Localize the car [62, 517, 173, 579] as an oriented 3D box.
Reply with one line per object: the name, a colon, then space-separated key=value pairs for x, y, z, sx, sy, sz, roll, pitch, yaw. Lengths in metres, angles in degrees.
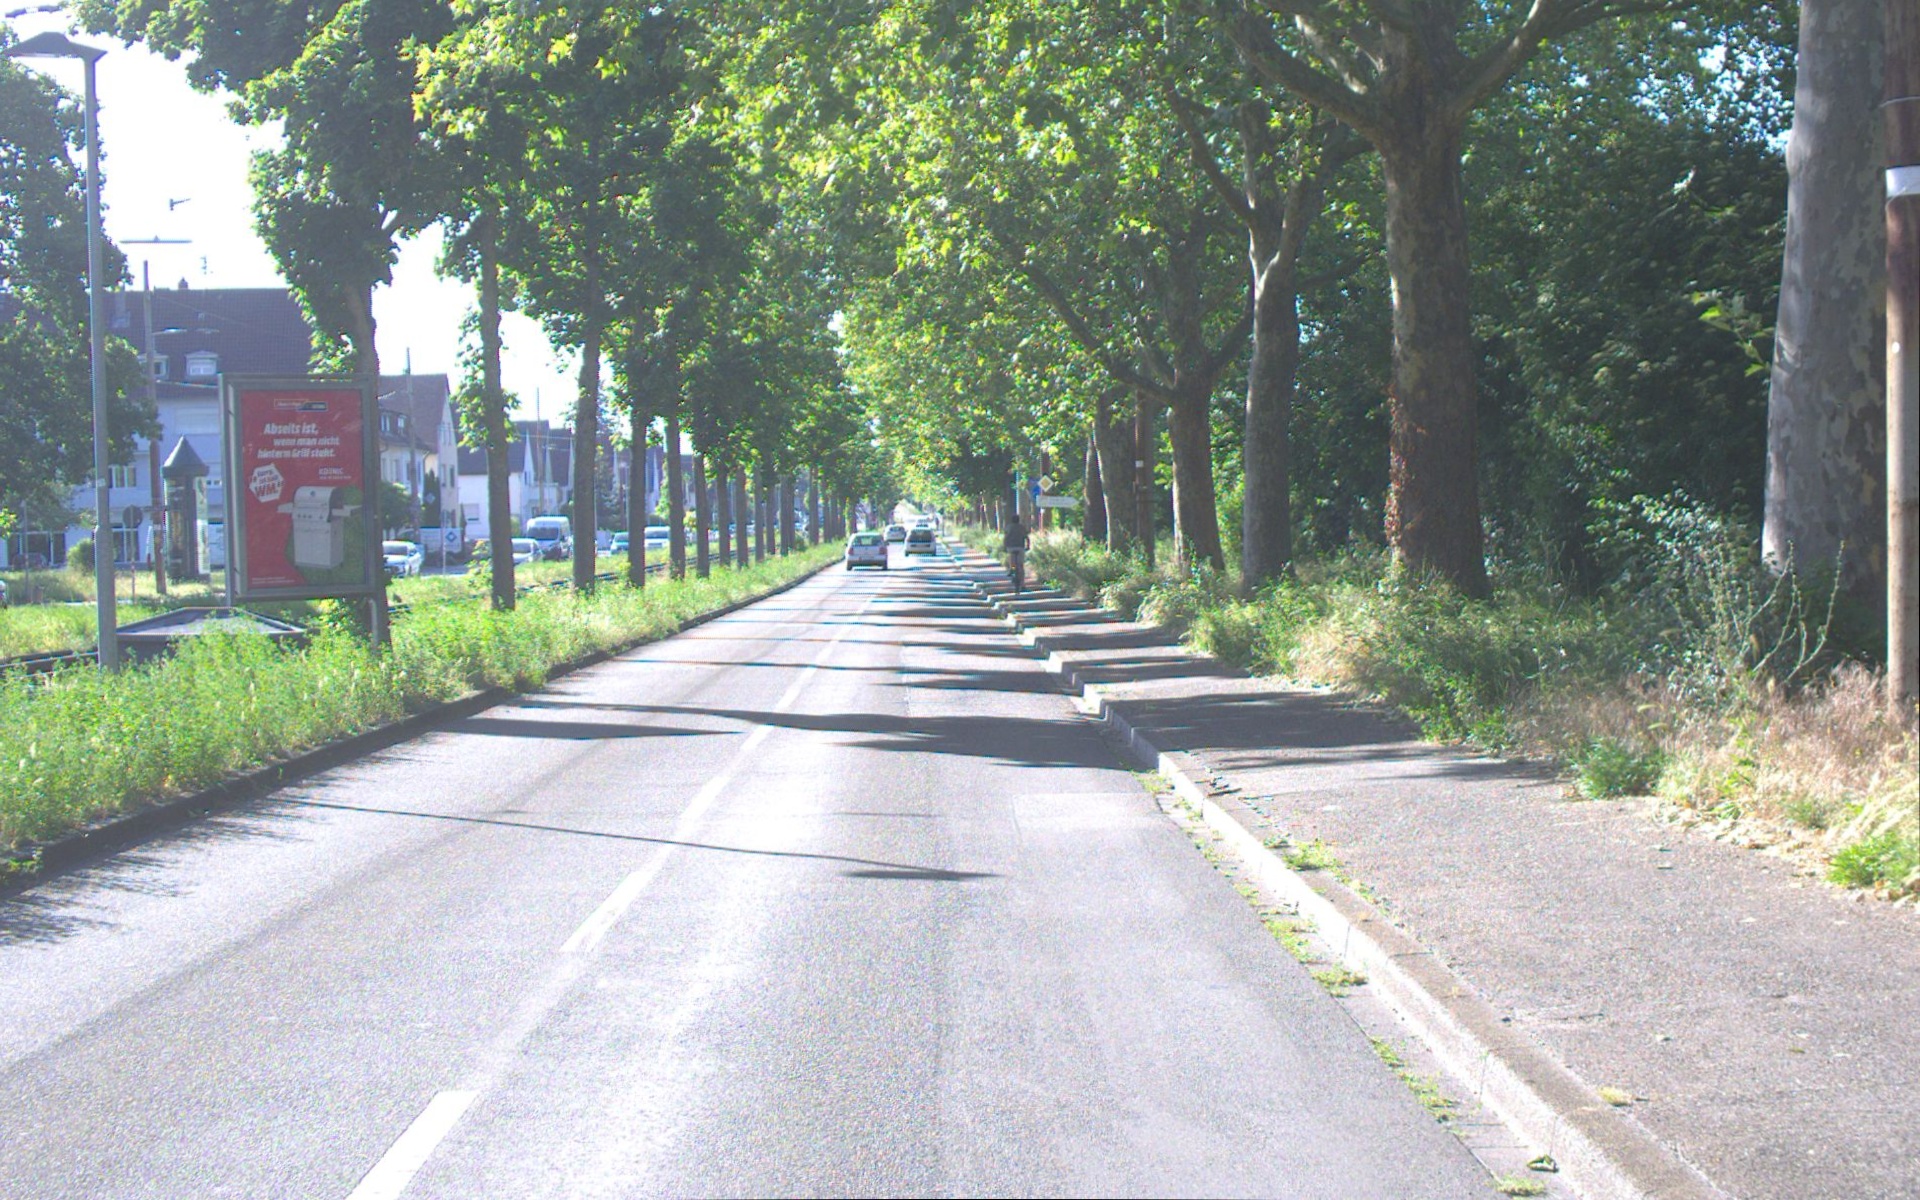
car: x=-22.887 y=-1.445 z=93.498 sx=1.921 sy=1.571 sz=4.000 roll=-2 pitch=2 yaw=1

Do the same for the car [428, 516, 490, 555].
car: x=-22.369 y=-2.900 z=153.487 sx=1.993 sy=1.637 sz=4.000 roll=-2 pitch=2 yaw=2

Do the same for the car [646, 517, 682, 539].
car: x=-18.608 y=-4.543 z=216.150 sx=1.920 sy=1.262 sz=4.000 roll=-2 pitch=2 yaw=-1

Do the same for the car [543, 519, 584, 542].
car: x=-22.886 y=-4.011 z=198.548 sx=1.920 sy=1.262 sz=4.000 roll=-2 pitch=2 yaw=-1

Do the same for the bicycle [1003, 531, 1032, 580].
bicycle: x=1.294 y=-1.000 z=77.219 sx=0.536 sy=1.062 sz=1.434 roll=-2 pitch=1 yaw=-2

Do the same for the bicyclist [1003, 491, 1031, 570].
bicyclist: x=1.273 y=-1.564 z=77.271 sx=0.534 sy=1.763 sz=0.713 roll=-2 pitch=1 yaw=-2

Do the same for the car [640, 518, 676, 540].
car: x=-18.810 y=-4.420 z=214.474 sx=1.920 sy=1.262 sz=4.000 roll=-2 pitch=2 yaw=-1

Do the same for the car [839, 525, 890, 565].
car: x=-3.710 y=-2.166 z=134.442 sx=1.867 sy=1.481 sz=3.556 roll=-1 pitch=1 yaw=0

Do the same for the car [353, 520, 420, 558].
car: x=-23.195 y=-2.465 z=139.218 sx=1.921 sy=1.433 sz=4.000 roll=-2 pitch=2 yaw=1

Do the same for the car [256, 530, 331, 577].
car: x=-22.749 y=-1.599 z=117.460 sx=1.744 sy=1.491 sz=3.592 roll=-2 pitch=2 yaw=1

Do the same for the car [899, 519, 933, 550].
car: x=-2.314 y=-3.493 z=183.198 sx=1.750 sy=1.599 sz=3.750 roll=-1 pitch=2 yaw=0

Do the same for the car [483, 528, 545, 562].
car: x=-18.236 y=-2.263 z=140.736 sx=1.921 sy=1.262 sz=4.000 roll=-2 pitch=2 yaw=1
